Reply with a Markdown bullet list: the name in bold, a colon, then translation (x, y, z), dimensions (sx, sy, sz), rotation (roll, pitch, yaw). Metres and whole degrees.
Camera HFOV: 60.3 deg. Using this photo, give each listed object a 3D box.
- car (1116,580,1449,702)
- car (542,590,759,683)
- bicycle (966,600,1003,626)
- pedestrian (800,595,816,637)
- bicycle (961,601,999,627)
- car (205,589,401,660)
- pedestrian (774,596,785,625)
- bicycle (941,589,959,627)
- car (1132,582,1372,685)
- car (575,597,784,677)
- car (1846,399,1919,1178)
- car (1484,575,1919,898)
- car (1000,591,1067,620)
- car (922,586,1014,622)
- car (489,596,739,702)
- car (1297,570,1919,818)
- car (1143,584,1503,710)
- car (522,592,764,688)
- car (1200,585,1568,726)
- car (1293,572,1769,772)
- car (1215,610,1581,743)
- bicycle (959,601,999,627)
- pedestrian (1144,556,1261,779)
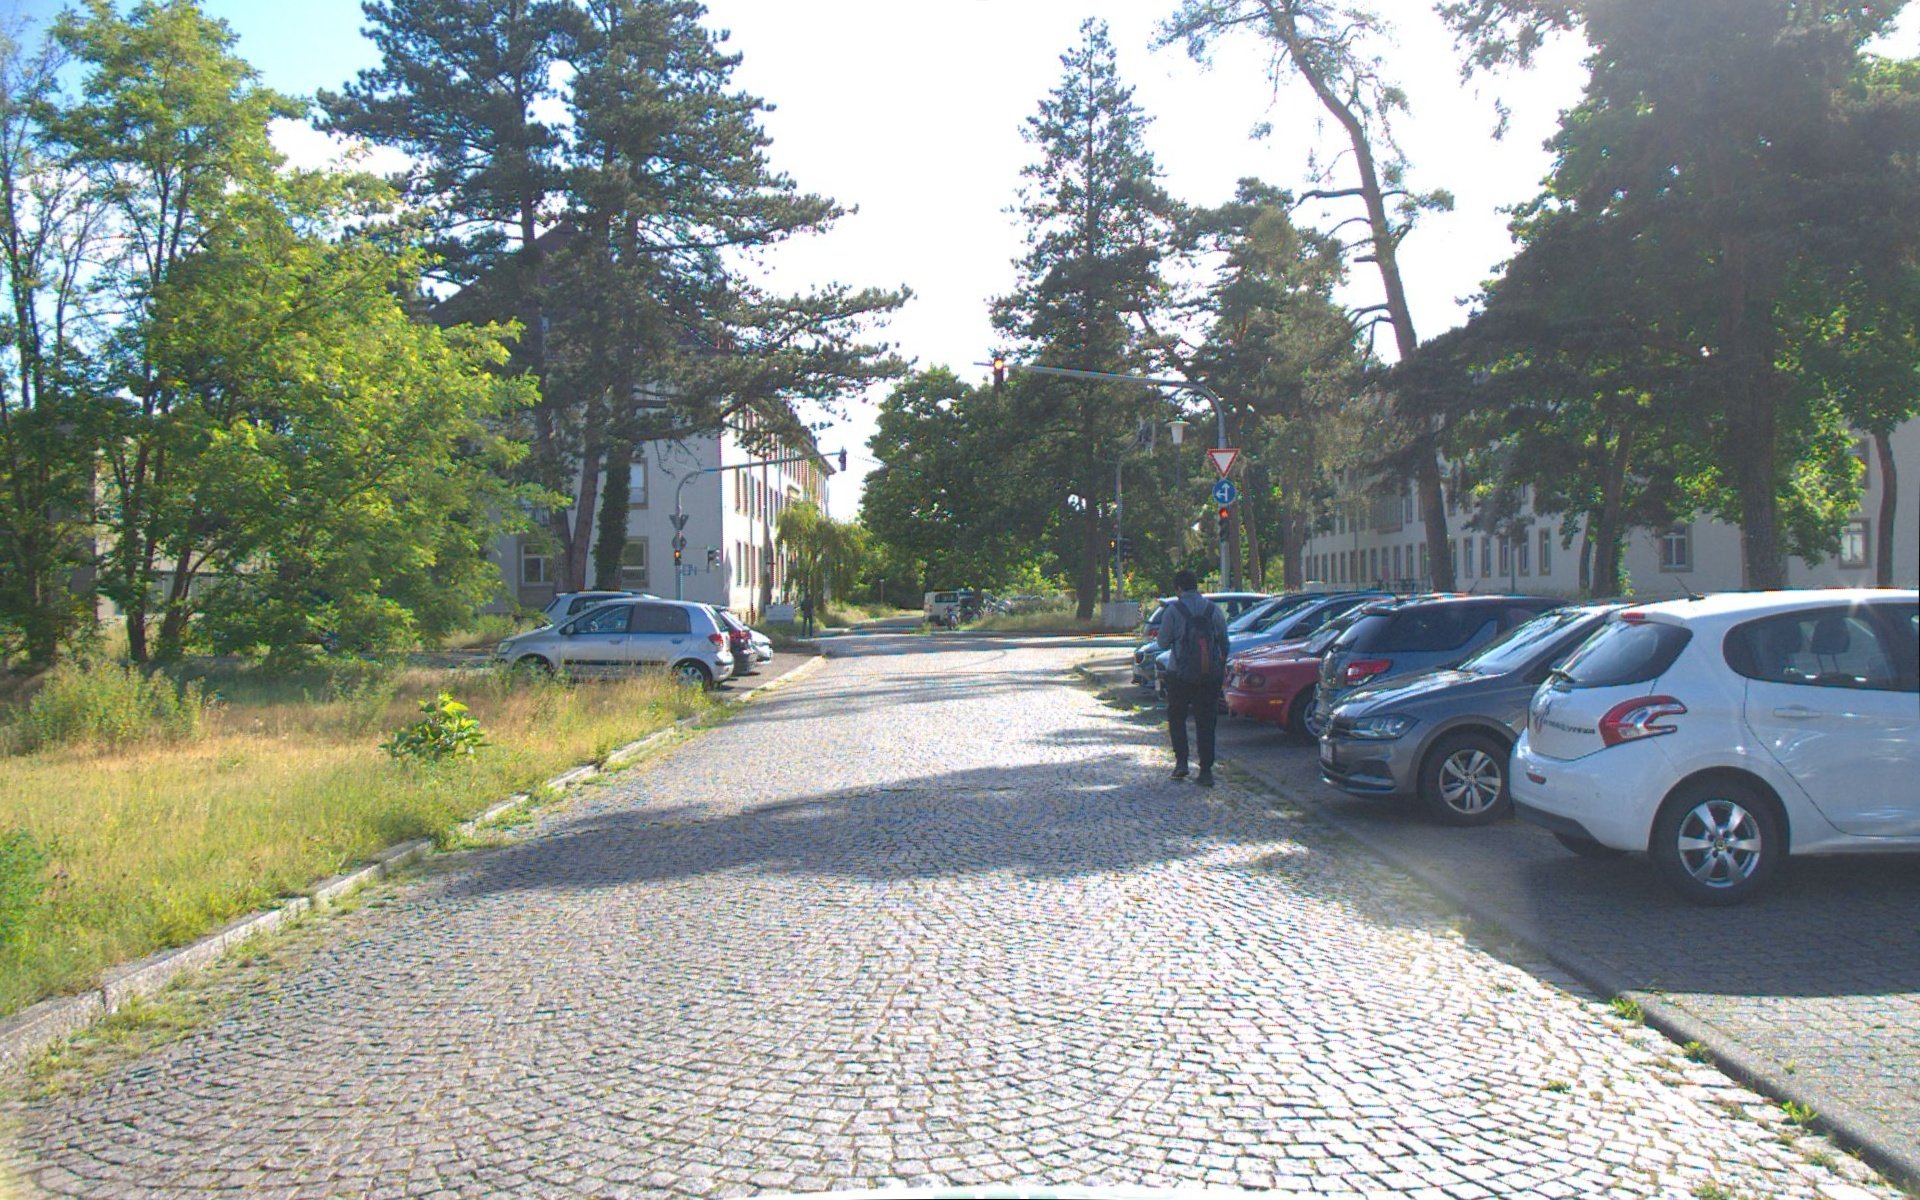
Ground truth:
- **car**: translation (4.751, 0.585, 24.788), dimensions (4.528, 1.481, 1.869), rotation (-3, 0, -3)
- **car**: translation (-5.832, 0.682, 31.481), dimensions (3.801, 1.643, 1.660), rotation (1, 0, -2)
- **bicycle**: translation (1.146, 0.610, 77.338), dimensions (1.693, 1.185, 0.560), rotation (-1, 0, -4)
- **pedestrian**: translation (-6.480, 0.688, 70.435), dimensions (0.594, 1.783, 0.630), rotation (-1, 0, -1)
- **bicycle**: translation (0.921, 0.652, 76.653), dimensions (1.693, 1.132, 0.484), rotation (-1, 0, -4)
- **car**: translation (-16.402, 0.591, 41.415), dimensions (4.059, 1.636, 2.010), rotation (-1, 0, 0)
- **pedestrian**: translation (-9.829, 0.557, 90.050), dimensions (0.595, 1.587, 0.544), rotation (-1, 0, -7)
- **bicycle**: translation (-0.453, 0.349, 72.635), dimensions (0.738, 1.608, 2.536), rotation (-1, 0, -1)
- **car**: translation (4.740, 0.530, 27.211), dimensions (3.598, 1.468, 1.665), rotation (-3, 0, -1)
- **car**: translation (-5.757, 0.739, 34.233), dimensions (3.903, 1.522, 1.773), rotation (1, 0, 4)
- **car**: translation (4.821, 0.387, 3.583), dimensions (4.657, 2.048, 2.000), rotation (-3, 0, 0)
- **car**: translation (4.852, 0.634, 8.827), dimensions (3.570, 1.518, 1.634), rotation (-1, 0, 0)
- **car**: translation (4.340, 0.328, 97.974), dimensions (3.673, 1.607, 1.738), rotation (-1, 0, -8)
- **car**: translation (0.431, 0.230, 94.004), dimensions (4.975, 1.951, 1.995), rotation (-1, 0, -10)
- **car**: translation (-5.419, 0.752, 26.245), dimensions (3.612, 1.554, 1.698), rotation (1, 0, -3)
- **car**: translation (4.435, 0.616, 11.754), dimensions (3.703, 1.476, 1.758), rotation (-2, 0, 1)
- **car**: translation (4.715, 0.590, 21.879), dimensions (4.310, 1.413, 1.788), rotation (-2, 0, -2)
- **car**: translation (-5.474, 0.679, 28.908), dimensions (3.858, 1.470, 1.690), rotation (2, 0, -2)
- **car**: translation (4.943, 0.626, 19.616), dimensions (3.899, 1.474, 1.655), rotation (-2, 0, -1)
- **car**: translation (4.935, 0.595, 14.632), dimensions (3.589, 1.480, 1.666), rotation (-3, 0, -1)
- **car**: translation (4.476, 0.766, 17.220), dimensions (3.390, 1.264, 1.536), rotation (-1, 0, 0)
- **bicycle**: translation (0.859, 0.653, 76.108), dimensions (1.798, 1.132, 0.495), rotation (-1, 0, -4)
- **pedestrian**: translation (2.000, 0.544, 13.746), dimensions (0.738, 1.755, 0.828), rotation (4, 0, -1)
